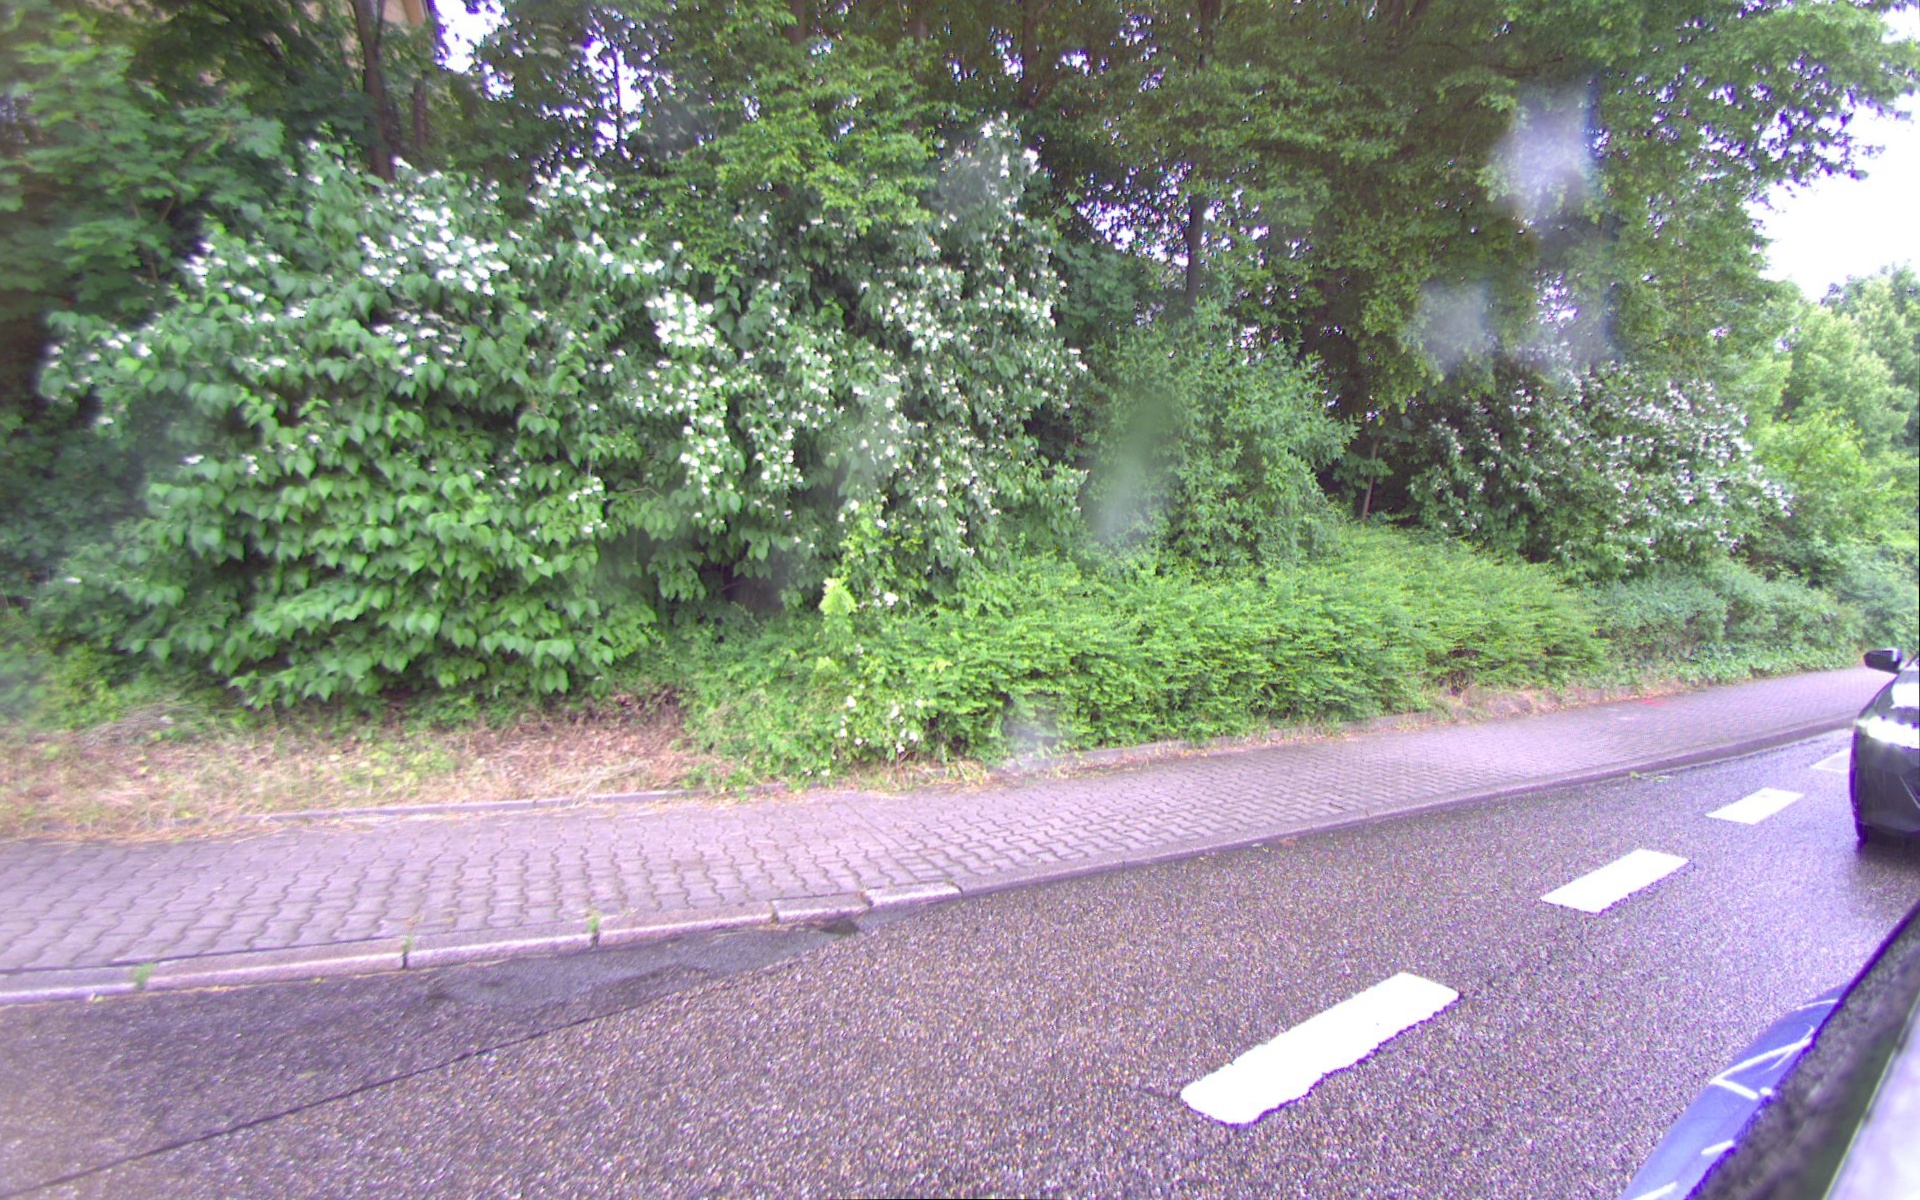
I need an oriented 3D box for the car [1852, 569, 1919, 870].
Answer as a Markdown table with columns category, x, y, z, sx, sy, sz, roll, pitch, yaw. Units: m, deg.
| category | x | y | z | sx | sy | sz | roll | pitch | yaw |
| --- | --- | --- | --- | --- | --- | --- | --- | --- | --- |
| car | 7.028 | 0.619 | 6.135 | 4.048 | 1.574 | 1.867 | -2 | 3 | -41 |
